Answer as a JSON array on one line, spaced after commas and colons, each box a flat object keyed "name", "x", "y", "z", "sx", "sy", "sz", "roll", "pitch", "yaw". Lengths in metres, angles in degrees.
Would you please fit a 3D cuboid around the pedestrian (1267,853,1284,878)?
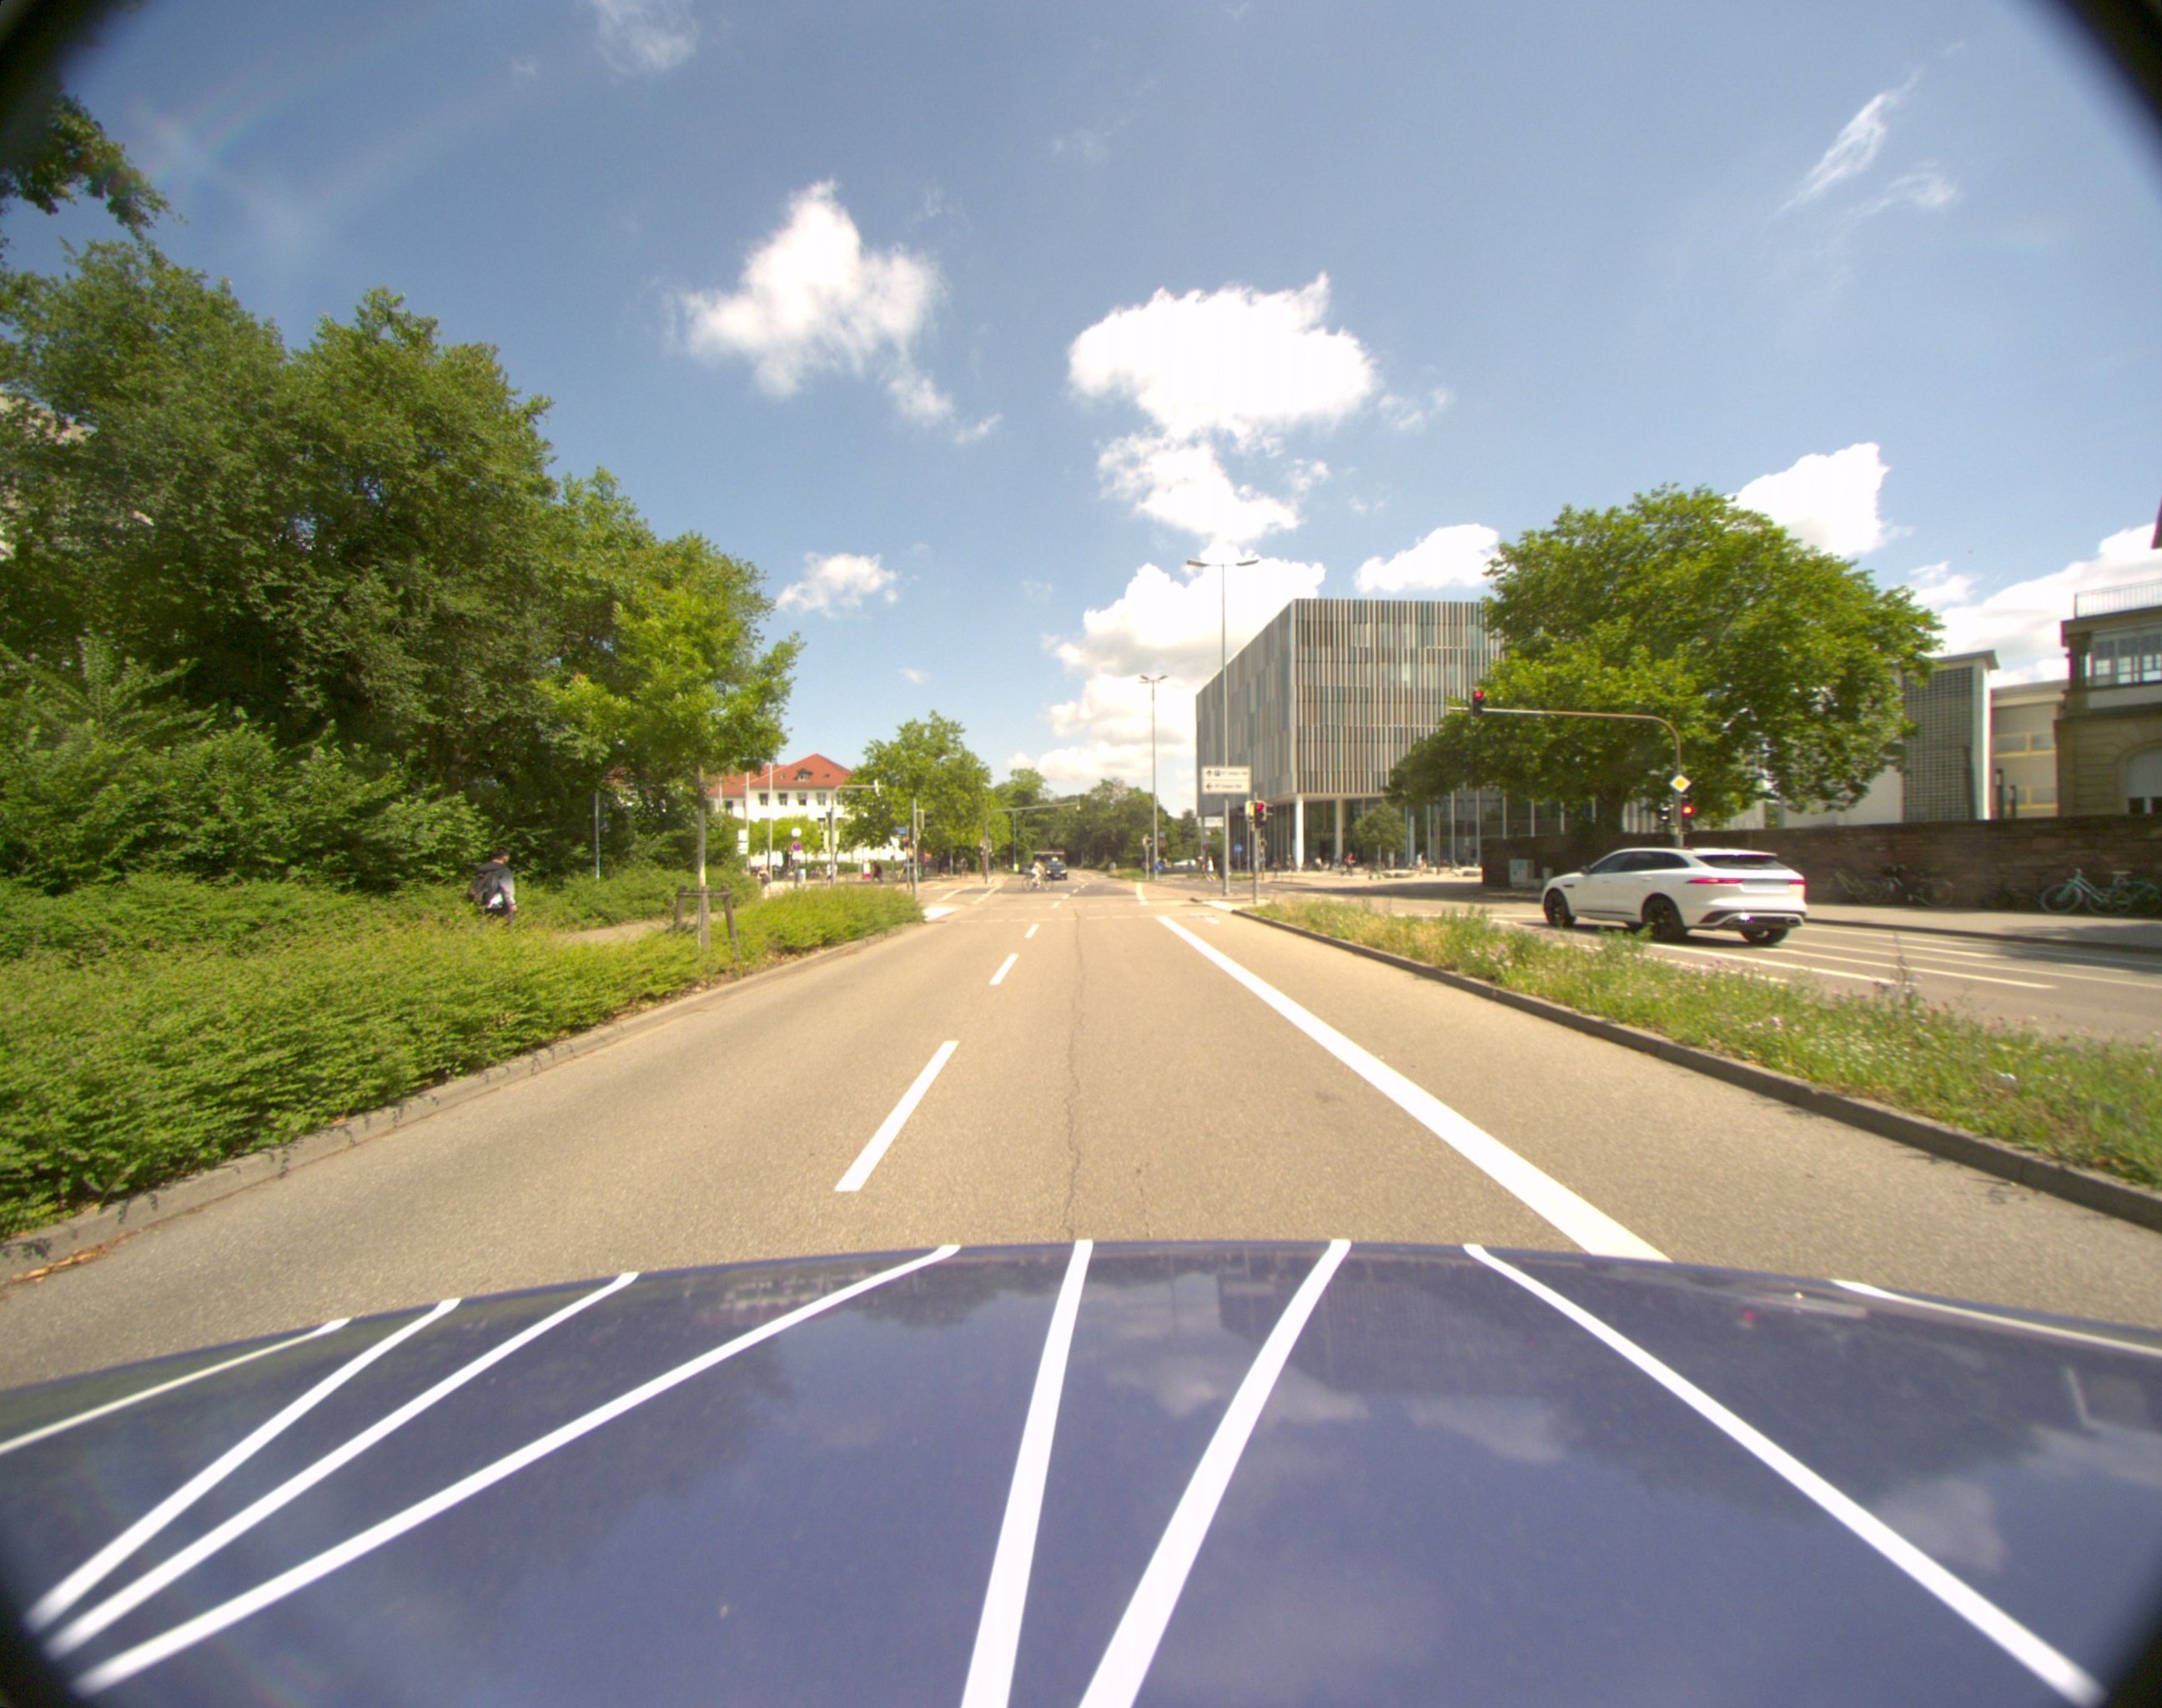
[{"name": "pedestrian", "x": 15.669, "y": 0.921, "z": 61.174, "sx": 0.969, "sy": 1.914, "sz": 0.881, "roll": 0, "pitch": 1, "yaw": 42}]

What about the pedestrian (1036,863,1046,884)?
[{"name": "pedestrian", "x": -2.913, "y": 1.388, "z": 55.219, "sx": 0.591, "sy": 1.495, "sz": 0.416, "roll": -1, "pitch": 1, "yaw": -19}]

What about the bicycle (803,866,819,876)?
[{"name": "bicycle", "x": -25.325, "y": 1.574, "z": 71.323, "sx": 1.371, "sy": 0.945, "sz": 0.352, "roll": -1, "pitch": 1, "yaw": -7}]

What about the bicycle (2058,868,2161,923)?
[{"name": "bicycle", "x": 22.527, "y": 0.878, "z": 16.480, "sx": 0.403, "sy": 1.145, "sz": 1.591, "roll": -1, "pitch": 0, "yaw": -24}]

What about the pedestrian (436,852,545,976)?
[{"name": "pedestrian", "x": -8.554, "y": 0.834, "z": 11.046, "sx": 0.815, "sy": 1.711, "sz": 0.929, "roll": -1, "pitch": 1, "yaw": 1}]

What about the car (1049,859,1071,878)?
[{"name": "car", "x": -1.864, "y": 1.255, "z": 66.399, "sx": 1.846, "sy": 1.593, "sz": 3.999, "roll": -1, "pitch": 0, "yaw": -3}]

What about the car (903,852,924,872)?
[{"name": "car", "x": -18.103, "y": 0.866, "z": 82.374, "sx": 2.000, "sy": 2.042, "sz": 4.225, "roll": -1, "pitch": 0, "yaw": -9}]

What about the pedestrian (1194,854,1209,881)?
[{"name": "pedestrian", "x": 8.918, "y": 0.989, "z": 56.272, "sx": 1.108, "sy": 1.914, "sz": 0.972, "roll": -1, "pitch": 1, "yaw": 9}]

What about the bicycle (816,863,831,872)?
[{"name": "bicycle", "x": -27.852, "y": 1.457, "z": 82.152, "sx": 1.429, "sy": 0.945, "sz": 0.352, "roll": -1, "pitch": 0, "yaw": -7}]

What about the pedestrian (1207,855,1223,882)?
[{"name": "pedestrian", "x": 9.673, "y": 1.020, "z": 54.904, "sx": 1.107, "sy": 1.914, "sz": 0.973, "roll": -1, "pitch": 1, "yaw": 12}]

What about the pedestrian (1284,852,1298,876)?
[{"name": "pedestrian", "x": 17.335, "y": 0.837, "z": 62.764, "sx": 0.969, "sy": 1.914, "sz": 0.880, "roll": -1, "pitch": 1, "yaw": 25}]

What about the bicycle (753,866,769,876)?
[{"name": "bicycle", "x": -30.142, "y": 1.588, "z": 71.561, "sx": 1.372, "sy": 0.945, "sz": 0.352, "roll": -1, "pitch": 0, "yaw": -10}]

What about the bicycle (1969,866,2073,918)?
[{"name": "bicycle", "x": 22.397, "y": 0.881, "z": 18.143, "sx": 0.413, "sy": 1.145, "sz": 1.593, "roll": -1, "pitch": 0, "yaw": -6}]

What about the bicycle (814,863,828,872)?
[{"name": "bicycle", "x": -27.899, "y": 1.465, "z": 81.483, "sx": 1.429, "sy": 0.945, "sz": 0.352, "roll": -1, "pitch": 0, "yaw": -7}]

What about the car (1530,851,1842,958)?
[{"name": "car", "x": 10.879, "y": 0.802, "z": 14.279, "sx": 2.076, "sy": 1.657, "sz": 4.775, "roll": -1, "pitch": 0, "yaw": 0}]

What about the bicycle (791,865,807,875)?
[{"name": "bicycle", "x": -27.163, "y": 1.542, "z": 73.133, "sx": 1.412, "sy": 0.945, "sz": 0.352, "roll": -1, "pitch": 0, "yaw": -7}]

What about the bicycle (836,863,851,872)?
[{"name": "bicycle", "x": -25.948, "y": 1.429, "z": 83.037, "sx": 1.429, "sy": 0.945, "sz": 0.352, "roll": -1, "pitch": 0, "yaw": -7}]

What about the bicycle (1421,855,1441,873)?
[{"name": "bicycle", "x": 31.517, "y": 0.874, "z": 68.445, "sx": 0.997, "sy": 1.543, "sz": 3.422, "roll": 0, "pitch": 0, "yaw": 36}]

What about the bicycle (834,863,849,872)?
[{"name": "bicycle", "x": -25.848, "y": 1.439, "z": 81.948, "sx": 1.429, "sy": 0.945, "sz": 0.352, "roll": -1, "pitch": 0, "yaw": -7}]

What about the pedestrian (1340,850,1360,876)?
[{"name": "pedestrian", "x": 20.303, "y": 0.680, "z": 57.373, "sx": 1.109, "sy": 1.914, "sz": 0.971, "roll": -1, "pitch": 1, "yaw": -5}]

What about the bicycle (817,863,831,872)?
[{"name": "bicycle", "x": -27.916, "y": 1.454, "z": 82.562, "sx": 1.429, "sy": 0.945, "sz": 0.352, "roll": -1, "pitch": 0, "yaw": -7}]

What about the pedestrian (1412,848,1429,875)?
[{"name": "pedestrian", "x": 24.191, "y": 0.512, "z": 54.180, "sx": 1.106, "sy": 1.914, "sz": 0.973, "roll": -1, "pitch": 1, "yaw": 24}]

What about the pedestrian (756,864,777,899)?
[{"name": "pedestrian", "x": -14.579, "y": 1.273, "z": 35.236, "sx": 0.633, "sy": 1.617, "sz": 0.647, "roll": 0, "pitch": 1, "yaw": 34}]

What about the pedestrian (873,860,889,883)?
[{"name": "pedestrian", "x": -14.359, "y": 1.226, "z": 54.597, "sx": 1.064, "sy": 1.588, "sz": 0.970, "roll": -1, "pitch": 1, "yaw": -16}]

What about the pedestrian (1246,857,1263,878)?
[{"name": "pedestrian", "x": 13.759, "y": 1.072, "z": 60.364, "sx": 0.969, "sy": 1.619, "sz": 0.881, "roll": 0, "pitch": 1, "yaw": 43}]

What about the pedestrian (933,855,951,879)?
[{"name": "pedestrian", "x": -10.878, "y": 1.008, "z": 59.470, "sx": 1.030, "sy": 1.914, "sz": 0.973, "roll": -1, "pitch": 1, "yaw": 20}]

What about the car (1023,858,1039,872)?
[{"name": "car", "x": -6.456, "y": 1.356, "z": 97.814, "sx": 1.913, "sy": 1.772, "sz": 3.998, "roll": -1, "pitch": 0, "yaw": -5}]

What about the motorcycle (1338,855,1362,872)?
[{"name": "motorcycle", "x": 26.264, "y": 0.894, "z": 74.088, "sx": 0.969, "sy": 1.630, "sz": 3.305, "roll": 0, "pitch": 0, "yaw": 44}]

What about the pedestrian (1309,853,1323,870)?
[{"name": "pedestrian", "x": 23.958, "y": 0.787, "z": 77.502, "sx": 1.011, "sy": 1.697, "sz": 1.213, "roll": -1, "pitch": 0, "yaw": 33}]

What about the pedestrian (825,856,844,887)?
[{"name": "pedestrian", "x": -15.124, "y": 1.060, "z": 46.601, "sx": 0.879, "sy": 1.861, "sz": 0.971, "roll": -1, "pitch": 1, "yaw": -5}]

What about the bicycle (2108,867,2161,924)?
[{"name": "bicycle", "x": 22.423, "y": 0.853, "z": 15.586, "sx": 0.403, "sy": 1.145, "sz": 1.590, "roll": -1, "pitch": 0, "yaw": -34}]

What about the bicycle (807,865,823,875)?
[{"name": "bicycle", "x": -25.444, "y": 1.529, "z": 72.628, "sx": 1.371, "sy": 0.945, "sz": 0.352, "roll": -1, "pitch": 0, "yaw": -7}]
